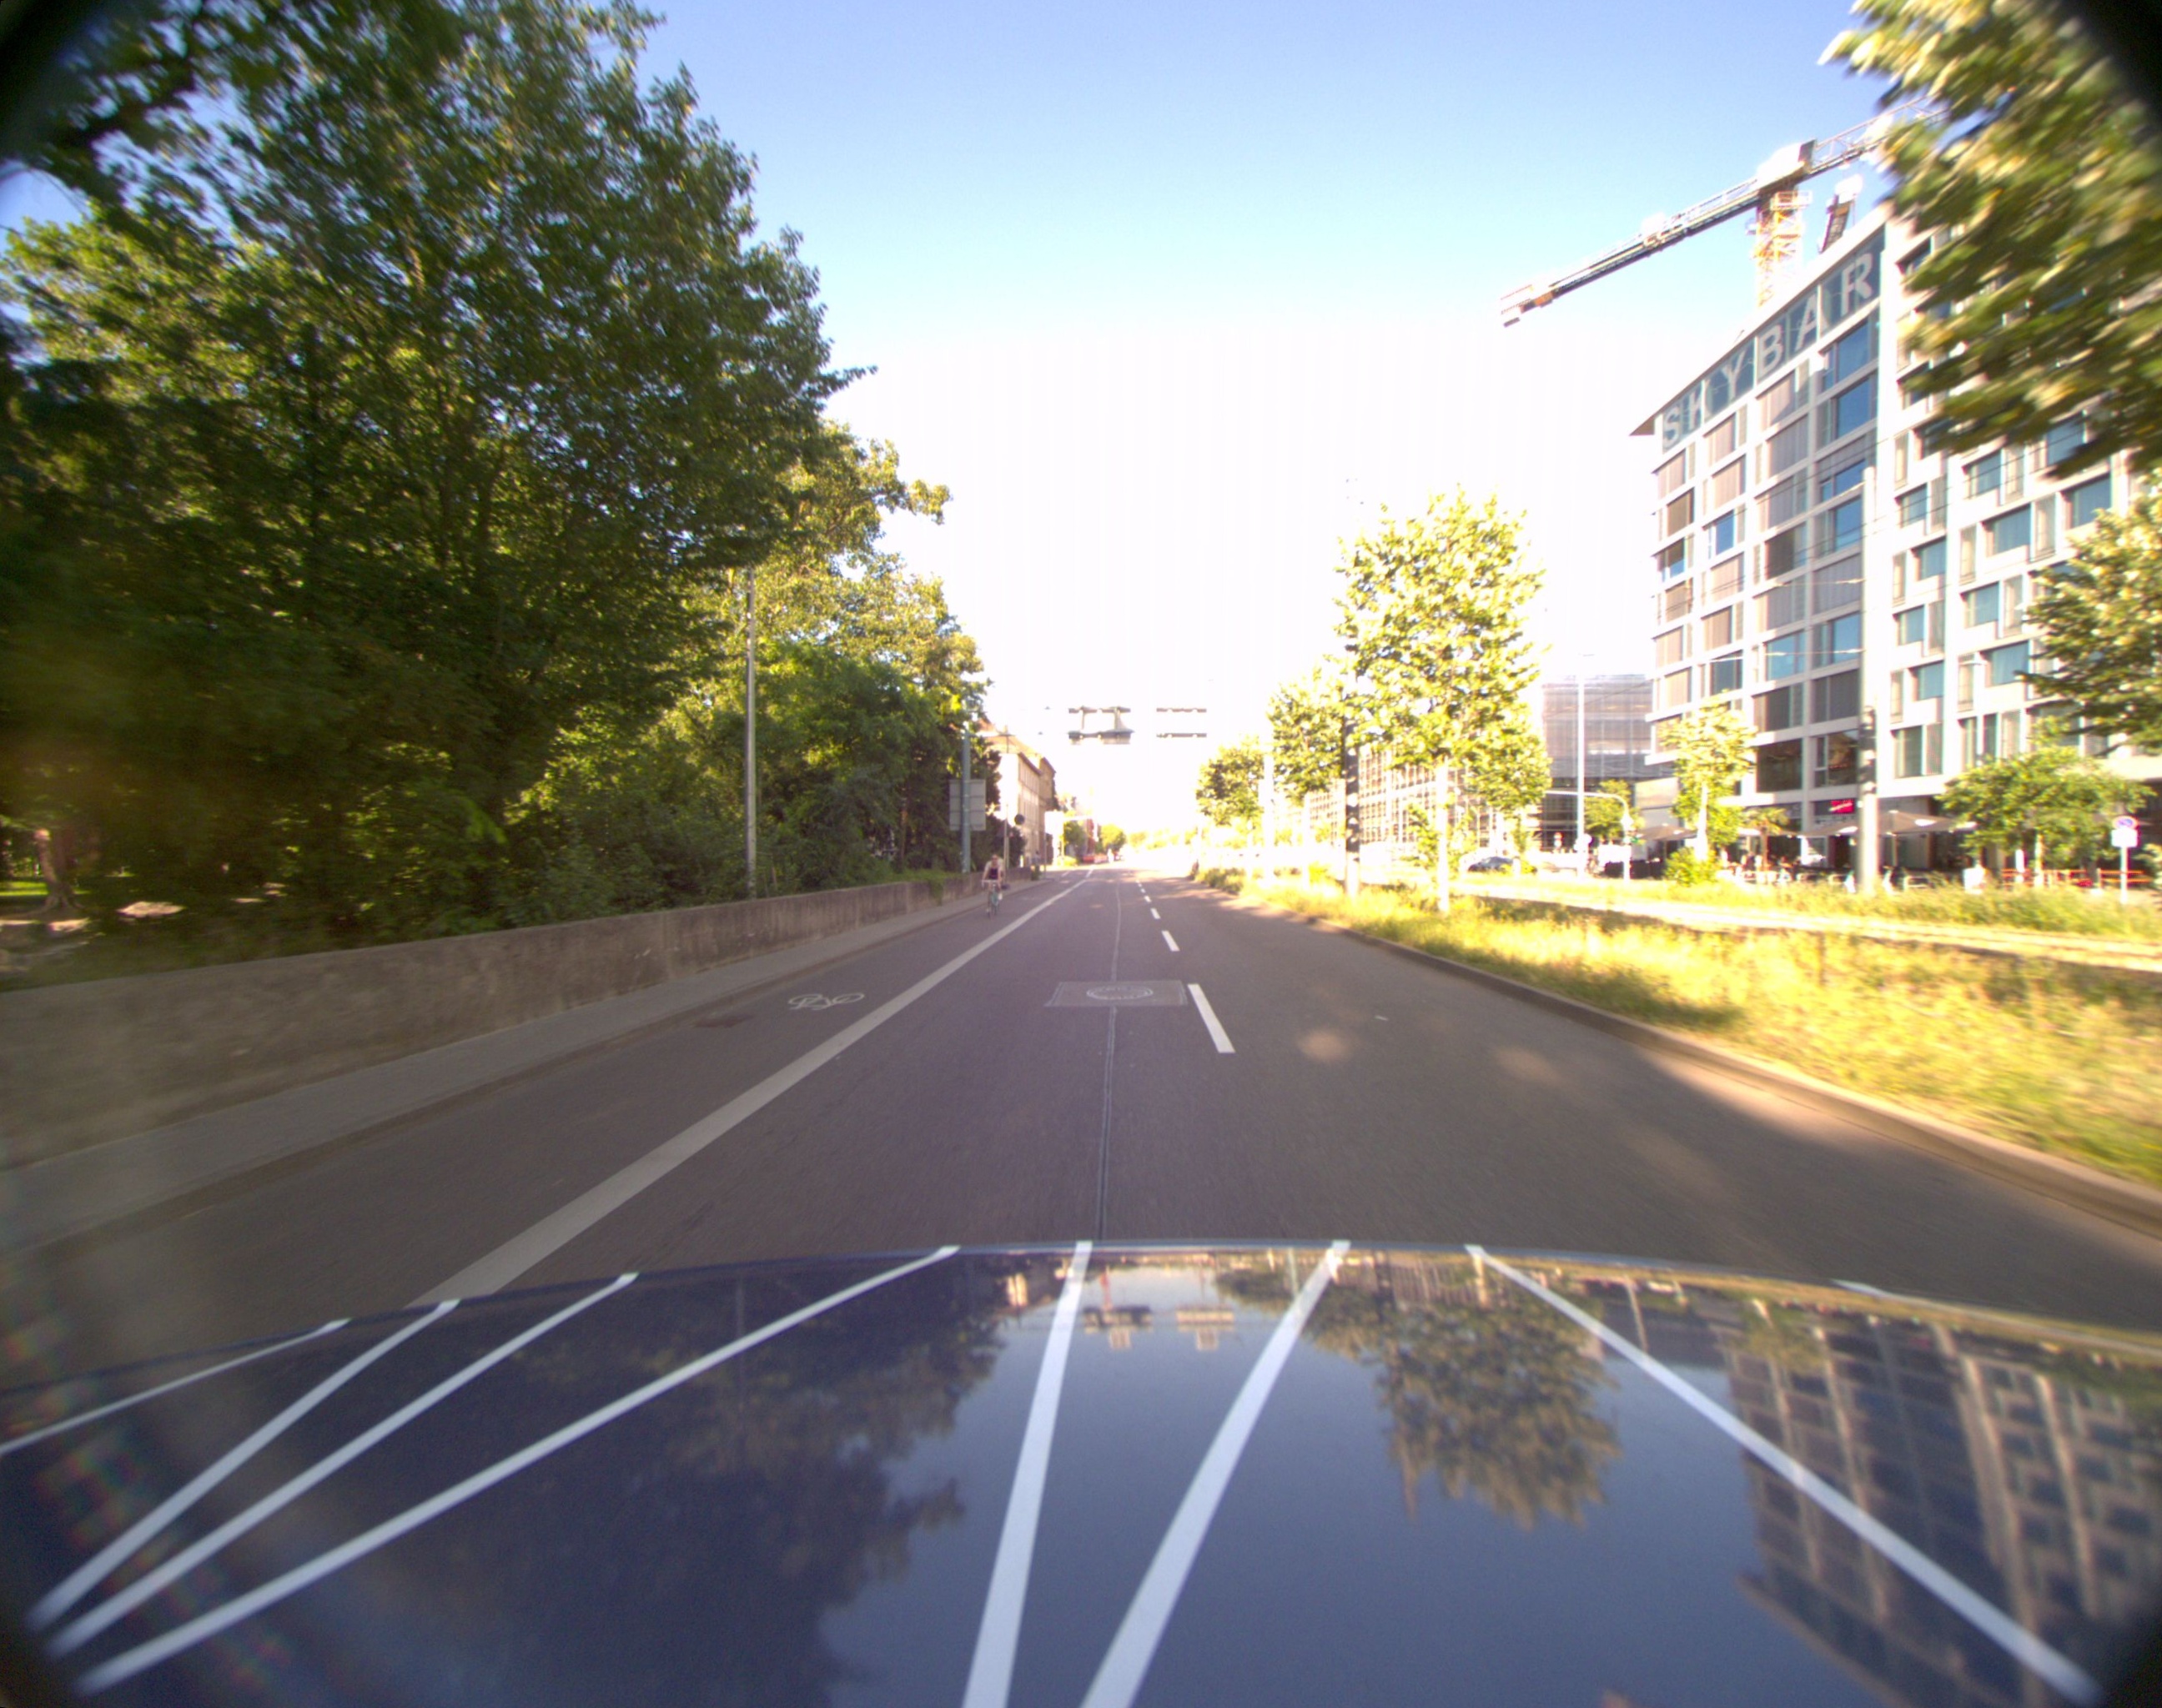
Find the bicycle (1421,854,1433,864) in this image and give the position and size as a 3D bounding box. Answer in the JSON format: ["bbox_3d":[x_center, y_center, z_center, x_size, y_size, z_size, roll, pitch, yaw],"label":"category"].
[{"bbox_3d":[36.894,0.515,81.110,0.626,1.060,2.079,0,1,9],"label":"bicycle"}]

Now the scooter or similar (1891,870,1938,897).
[{"bbox_3d":[32.231,1.121,29.396,1.246,1.013,0.435,0,1,4],"label":"scooter or similar"}]

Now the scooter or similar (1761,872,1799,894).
[{"bbox_3d":[32.628,1.350,35.459,1.246,1.013,0.511,0,1,4],"label":"scooter or similar"}]

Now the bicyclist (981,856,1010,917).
[{"bbox_3d":[-2.134,0.804,19.049,0.553,1.482,1.081,0,0,3],"label":"bicyclist"}]

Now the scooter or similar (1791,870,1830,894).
[{"bbox_3d":[32.567,1.252,33.932,1.246,1.013,0.435,0,1,4],"label":"scooter or similar"}]

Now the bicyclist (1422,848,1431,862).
[{"bbox_3d":[36.877,0.129,81.086,0.626,1.456,0.851,0,1,9],"label":"bicyclist"}]

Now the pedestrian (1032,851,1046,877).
[{"bbox_3d":[-2.689,0.613,48.700,0.768,1.627,0.769,2,1,-6],"label":"pedestrian"}]

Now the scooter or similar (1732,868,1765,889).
[{"bbox_3d":[33.163,1.204,37.746,1.246,1.000,0.406,0,1,4],"label":"scooter or similar"}]

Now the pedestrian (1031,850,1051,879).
[{"bbox_3d":[-2.518,0.635,48.063,0.861,1.792,0.905,2,1,-31],"label":"pedestrian"}]

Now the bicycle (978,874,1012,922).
[{"bbox_3d":[-2.135,1.069,19.039,0.522,1.091,1.843,-1,0,3],"label":"bicycle"}]

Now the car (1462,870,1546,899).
[{"bbox_3d":[22.075,1.560,39.879,1.895,1.336,4.851,0,0,3],"label":"car"}]

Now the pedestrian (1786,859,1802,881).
[{"bbox_3d":[41.089,0.921,43.800,0.432,1.215,0.497,0,1,4],"label":"pedestrian"}]

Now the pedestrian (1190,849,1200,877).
[{"bbox_3d":[7.017,0.534,46.962,0.599,1.689,0.714,0,1,8],"label":"pedestrian"}]

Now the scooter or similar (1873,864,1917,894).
[{"bbox_3d":[32.639,1.005,30.468,1.246,1.165,0.406,0,1,4],"label":"scooter or similar"}]

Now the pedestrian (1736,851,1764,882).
[{"bbox_3d":[36.666,0.687,41.655,0.870,1.711,0.804,0,1,13],"label":"pedestrian"}]

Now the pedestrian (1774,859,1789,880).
[{"bbox_3d":[41.175,0.915,44.675,0.432,1.215,0.497,0,1,4],"label":"pedestrian"}]

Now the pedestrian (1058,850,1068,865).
[{"bbox_3d":[-2.026,0.355,85.447,0.924,1.639,0.767,1,1,36],"label":"pedestrian"}]

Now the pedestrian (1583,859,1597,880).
[{"bbox_3d":[35.707,1.070,53.320,0.587,1.490,0.577,0,1,-2],"label":"pedestrian"}]

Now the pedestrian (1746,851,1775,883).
[{"bbox_3d":[36.544,0.693,40.866,0.870,1.711,0.804,0,1,13],"label":"pedestrian"}]

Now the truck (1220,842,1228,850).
[{"bbox_3d":[44.690,-2.431,237.505,2.142,2.559,4.741,0,0,5],"label":"truck"}]

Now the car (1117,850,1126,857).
[{"bbox_3d":[9.090,-0.089,170.679,1.998,1.696,4.000,0,1,2],"label":"car"}]
